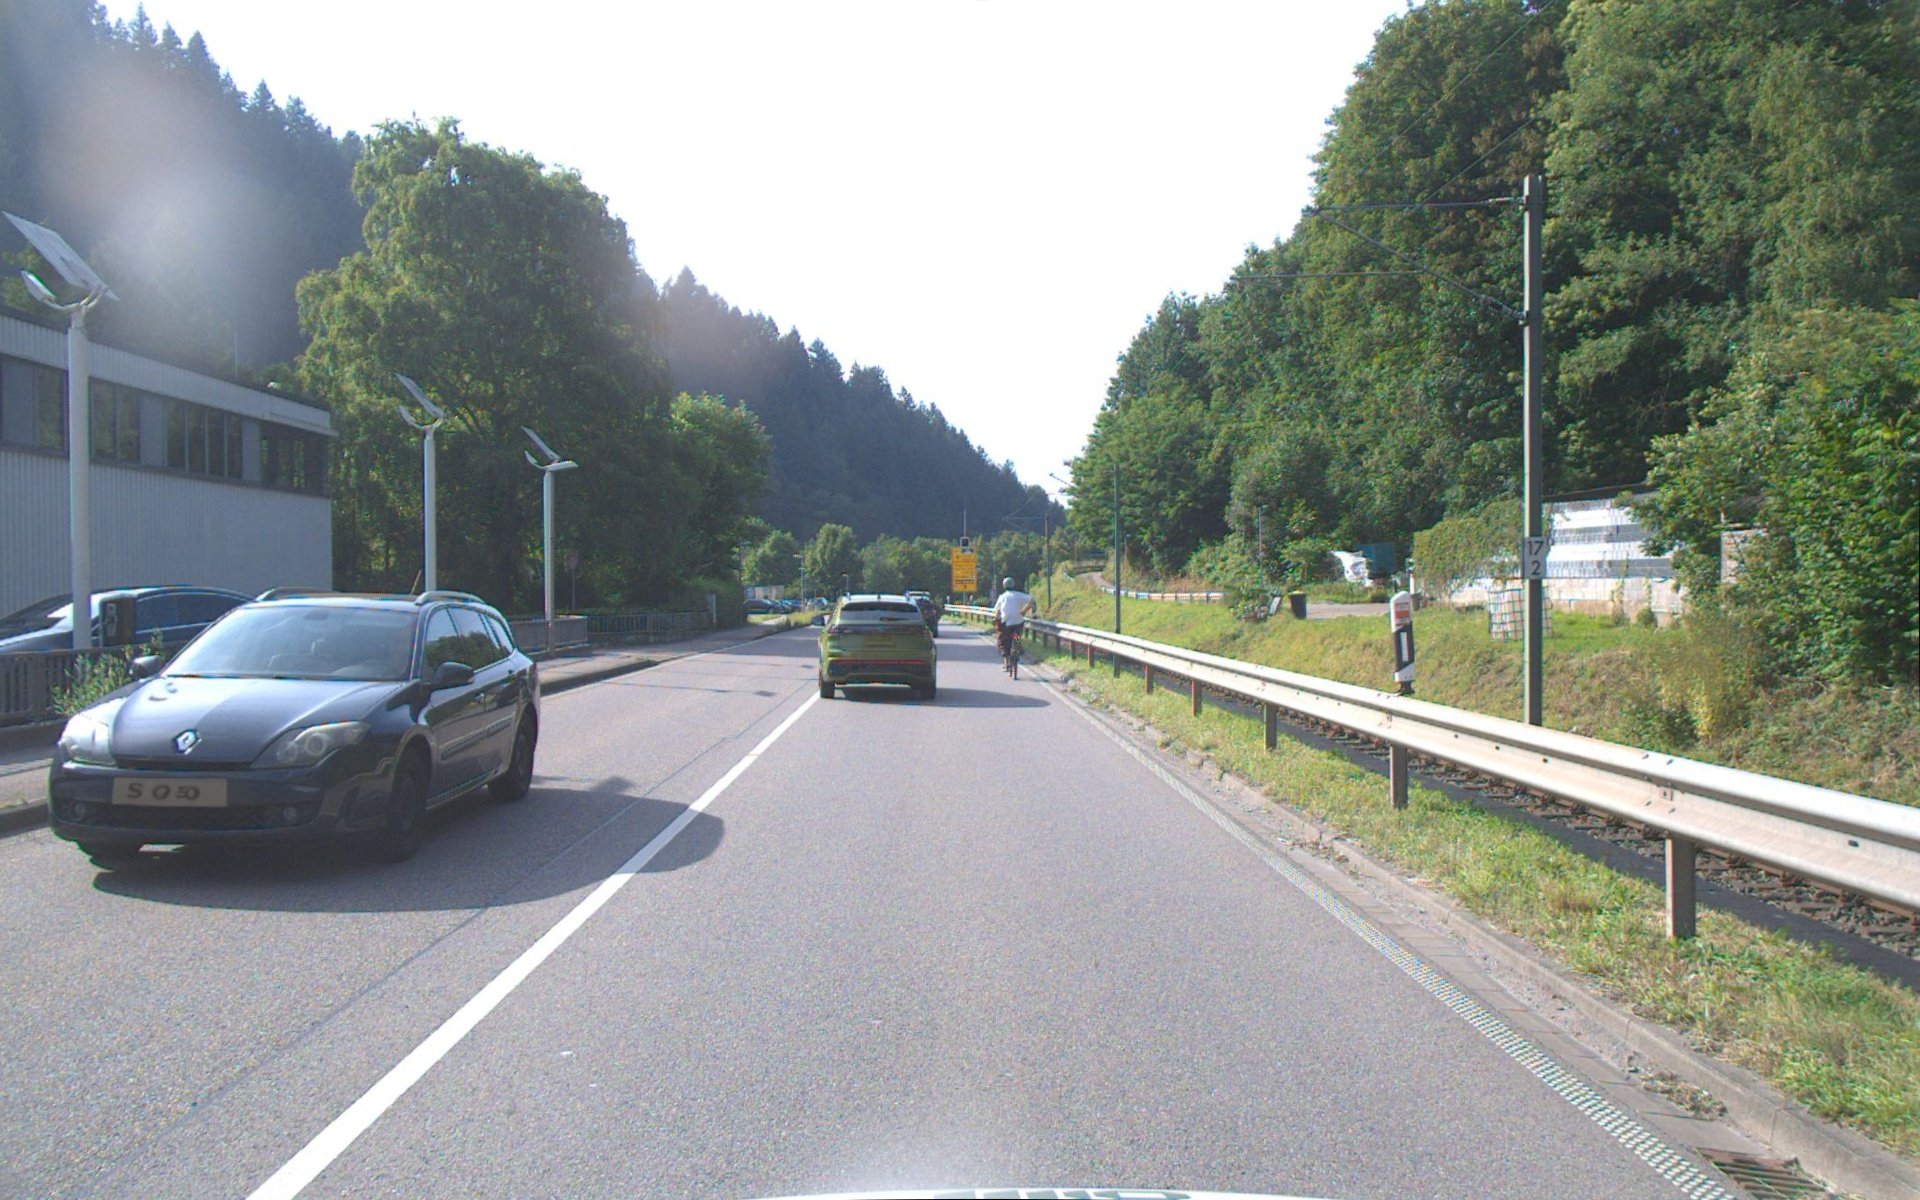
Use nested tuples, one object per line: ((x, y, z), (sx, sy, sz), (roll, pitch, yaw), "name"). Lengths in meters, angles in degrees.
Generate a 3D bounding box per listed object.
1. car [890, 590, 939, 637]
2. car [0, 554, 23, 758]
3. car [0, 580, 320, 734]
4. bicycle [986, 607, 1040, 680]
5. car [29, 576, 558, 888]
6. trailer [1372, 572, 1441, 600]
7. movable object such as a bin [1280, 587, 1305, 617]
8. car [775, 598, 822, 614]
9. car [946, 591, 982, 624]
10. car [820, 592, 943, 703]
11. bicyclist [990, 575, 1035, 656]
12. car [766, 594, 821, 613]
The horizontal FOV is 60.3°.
((-1.650, 0.471, 59.892), (1.704, 1.630, 3.998), (1, 0, -2), "car")
((-10.300, 0.550, 13.057), (1.957, 1.772, 4.680), (0, 1, 31), "car")
((-10.022, 0.600, 19.266), (1.953, 1.589, 4.851), (0, 0, 23), "car")
((0.948, 0.763, 30.169), (0.795, 1.272, 2.121), (0, 0, -3), "bicycle")
((-3.837, 0.652, 10.377), (1.643, 1.511, 4.245), (2, 0, -1), "car")
((20.597, -0.624, 76.422), (2.025, 1.213, 3.712), (1, 0, -3), "trailer")
((12.436, 0.064, 61.899), (0.837, 1.127, 0.935), (0, 0, 4), "movable object such as a bin")
((-14.727, 0.539, 151.268), (4.172, 1.458, 1.556), (0, 0, -1), "car")
((0.173, 0.383, 85.585), (1.704, 1.630, 3.998), (-1, 0, -2), "car")
((-1.163, 0.656, 25.079), (1.704, 1.534, 3.998), (0, 0, -2), "car")
((0.947, 0.276, 30.045), (0.766, 1.436, 0.674), (0, 0, -3), "bicyclist")
((-13.153, 0.244, 130.554), (4.172, 1.458, 1.556), (0, 0, -1), "car")
